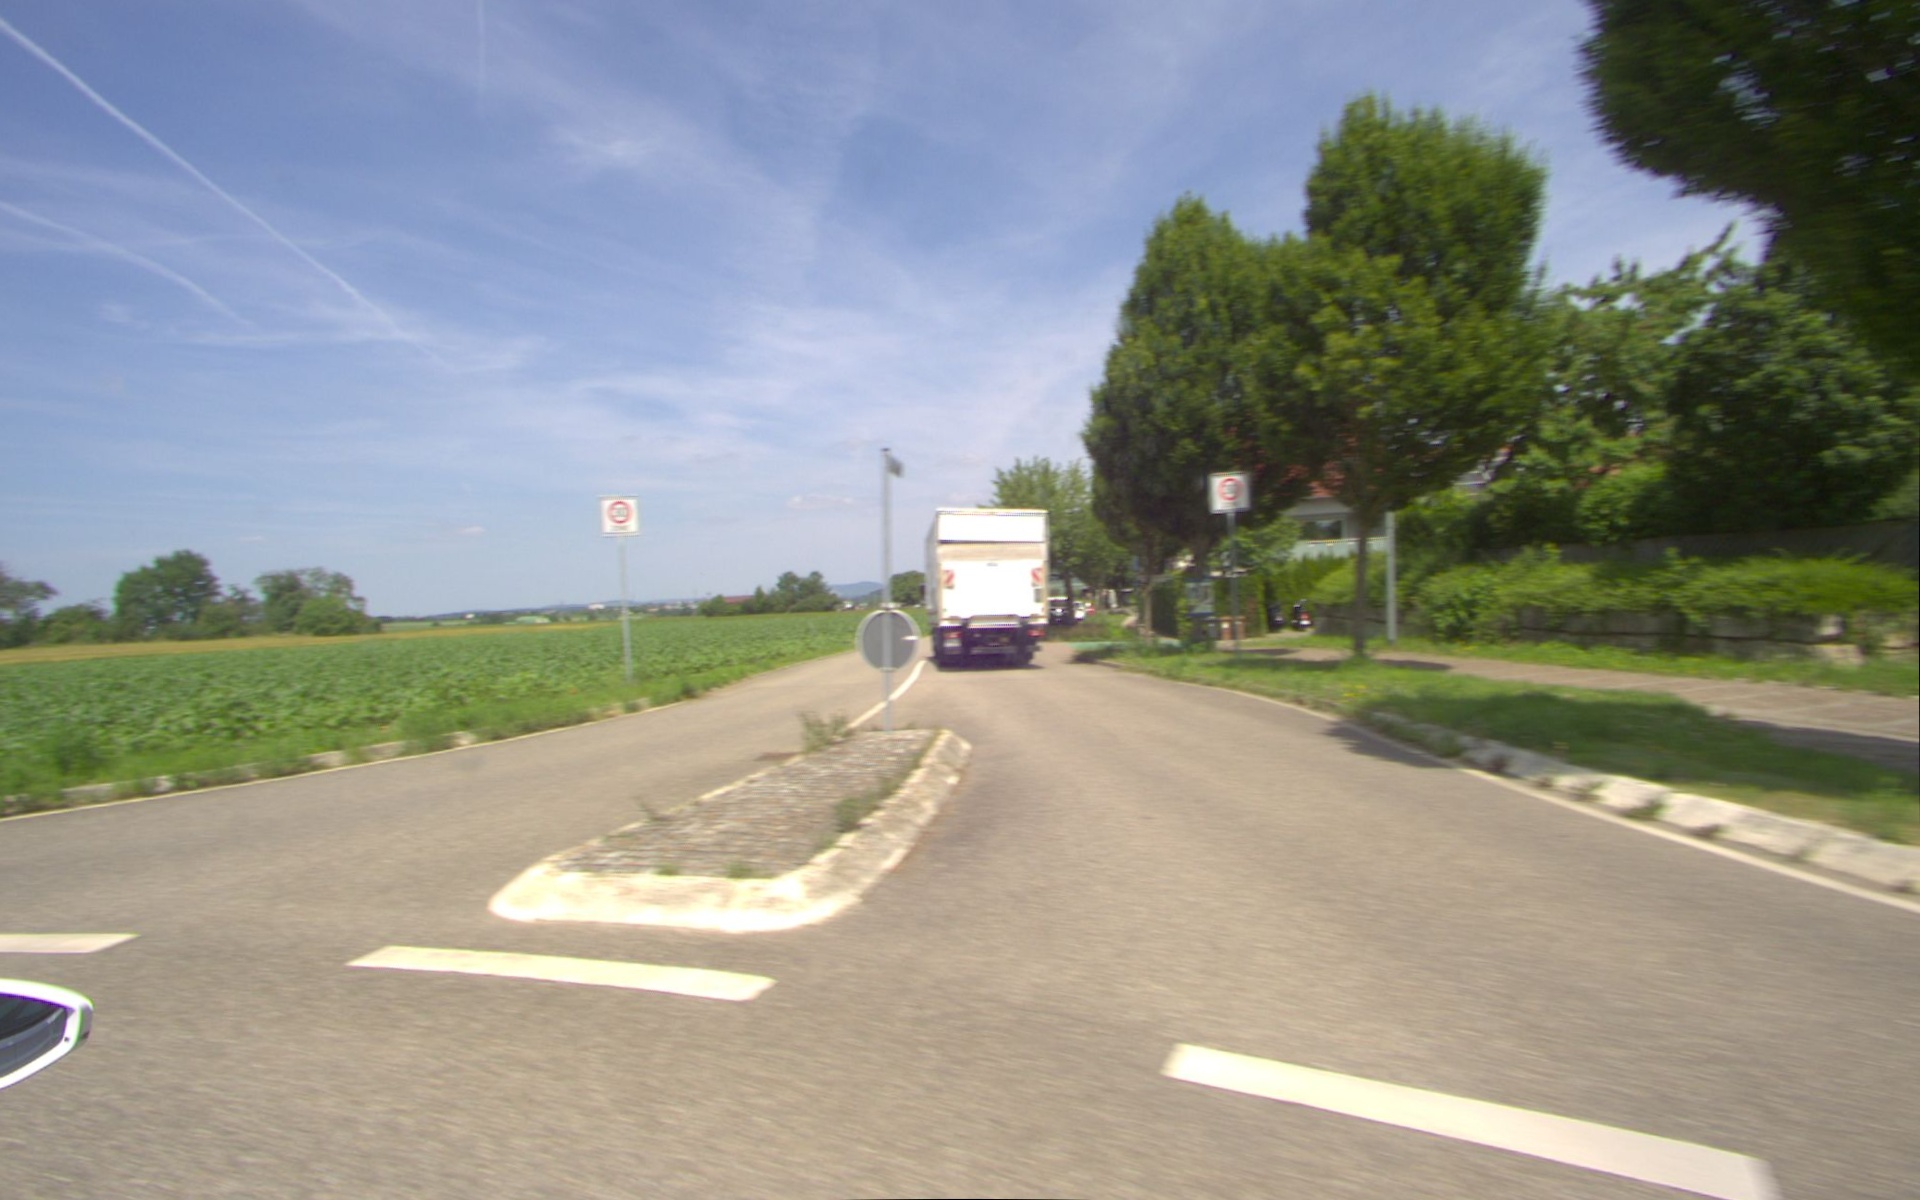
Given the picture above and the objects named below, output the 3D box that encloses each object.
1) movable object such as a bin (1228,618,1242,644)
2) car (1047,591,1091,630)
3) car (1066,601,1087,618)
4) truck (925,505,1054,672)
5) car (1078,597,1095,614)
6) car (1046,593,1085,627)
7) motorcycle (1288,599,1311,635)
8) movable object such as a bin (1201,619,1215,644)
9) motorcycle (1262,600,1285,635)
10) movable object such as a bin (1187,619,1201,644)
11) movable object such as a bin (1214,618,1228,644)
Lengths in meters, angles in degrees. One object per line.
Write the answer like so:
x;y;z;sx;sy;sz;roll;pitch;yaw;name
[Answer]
10.686;1.194;38.882;0.434;0.979;0.497;-1;1;25;movable object such as a bin
5.430;0.507;50.443;1.961;1.817;3.999;-2;0;3;car
8.553;0.679;73.545;1.340;1.151;3.205;-2;0;10;car
0.514;-0.206;27.270;2.722;3.719;9.382;-1;-1;-3;truck
10.832;0.486;85.480;1.262;1.379;3.288;-3;-1;9;car
5.844;0.516;55.986;1.961;1.740;3.998;-2;1;4;car
13.919;0.679;41.130;0.836;1.366;1.658;-2;1;18;motorcycle
9.749;1.227;39.300;0.434;0.979;0.497;-1;1;25;movable object such as a bin
12.973;0.715;41.448;0.836;1.366;1.658;-2;1;18;motorcycle
9.241;1.244;39.529;0.434;0.979;0.497;-1;1;25;movable object such as a bin
10.187;1.212;39.101;0.434;0.979;0.497;-1;1;25;movable object such as a bin
